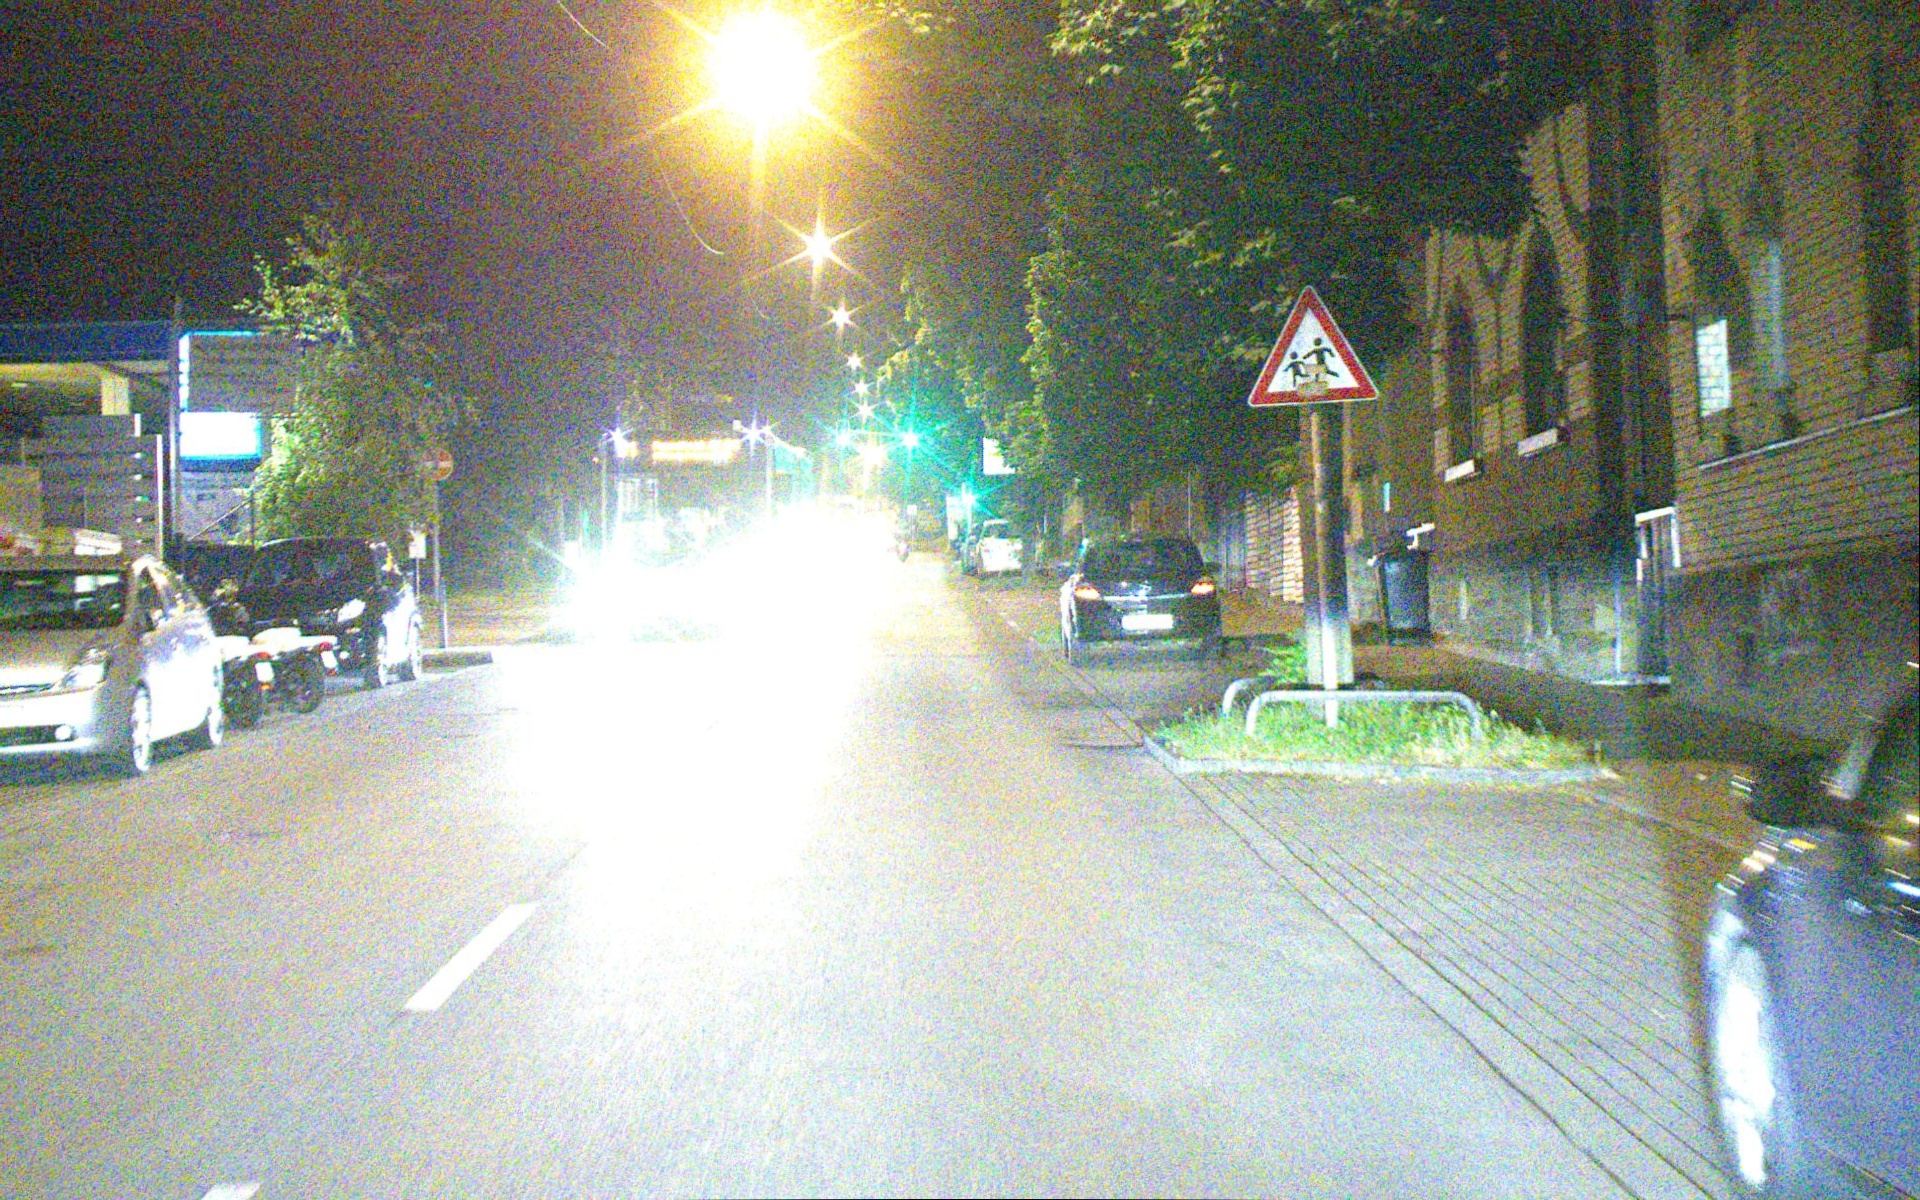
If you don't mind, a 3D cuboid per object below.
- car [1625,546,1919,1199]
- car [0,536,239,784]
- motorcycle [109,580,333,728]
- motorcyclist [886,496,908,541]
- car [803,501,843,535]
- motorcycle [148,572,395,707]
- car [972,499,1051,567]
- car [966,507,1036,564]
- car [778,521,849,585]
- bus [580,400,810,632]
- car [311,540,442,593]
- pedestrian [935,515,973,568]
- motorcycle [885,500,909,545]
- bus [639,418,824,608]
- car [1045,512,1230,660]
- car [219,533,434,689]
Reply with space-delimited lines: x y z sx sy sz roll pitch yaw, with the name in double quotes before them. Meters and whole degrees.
"car" 2.504 0.623 5.963 1.771 1.443 4.020 -3 1 -1
"car" -6.283 0.369 23.892 1.704 1.486 4.228 -3 2 -2
"motorcycle" -6.084 0.431 28.234 0.714 1.143 2.208 -4 2 -43
"motorcyclist" -2.514 -3.259 137.307 0.848 1.746 0.805 -1 0 -1
"car" -7.135 -4.276 179.368 1.944 1.711 4.000 -1 1 -1
"motorcycle" -6.067 0.355 30.252 2.205 1.127 0.714 -1 2 32
"car" 1.291 -1.746 87.989 1.812 1.588 4.274 -3 2 -1
"car" 1.175 -1.909 101.460 1.868 1.521 4.150 -3 2 -1
"car" -3.595 -1.177 84.735 1.645 1.417 3.871 -3 2 -2
"bus" -3.890 -1.312 52.779 2.837 3.166 10.499 -1 2 -1
"car" -16.506 -0.950 97.225 3.262 1.448 1.791 -1 1 32
"pedestrian" -0.186 -1.880 111.208 0.924 1.694 0.767 0 2 -36
"motorcycle" -2.509 -3.094 137.307 0.931 1.746 2.625 -1 1 -1
"bus" -4.011 -1.577 61.885 2.837 3.166 7.661 -1 2 0
"car" 1.967 -0.205 39.182 1.763 1.471 4.081 -3 2 -1
"car" -6.497 0.093 35.494 1.638 1.493 2.765 -2 1 1
